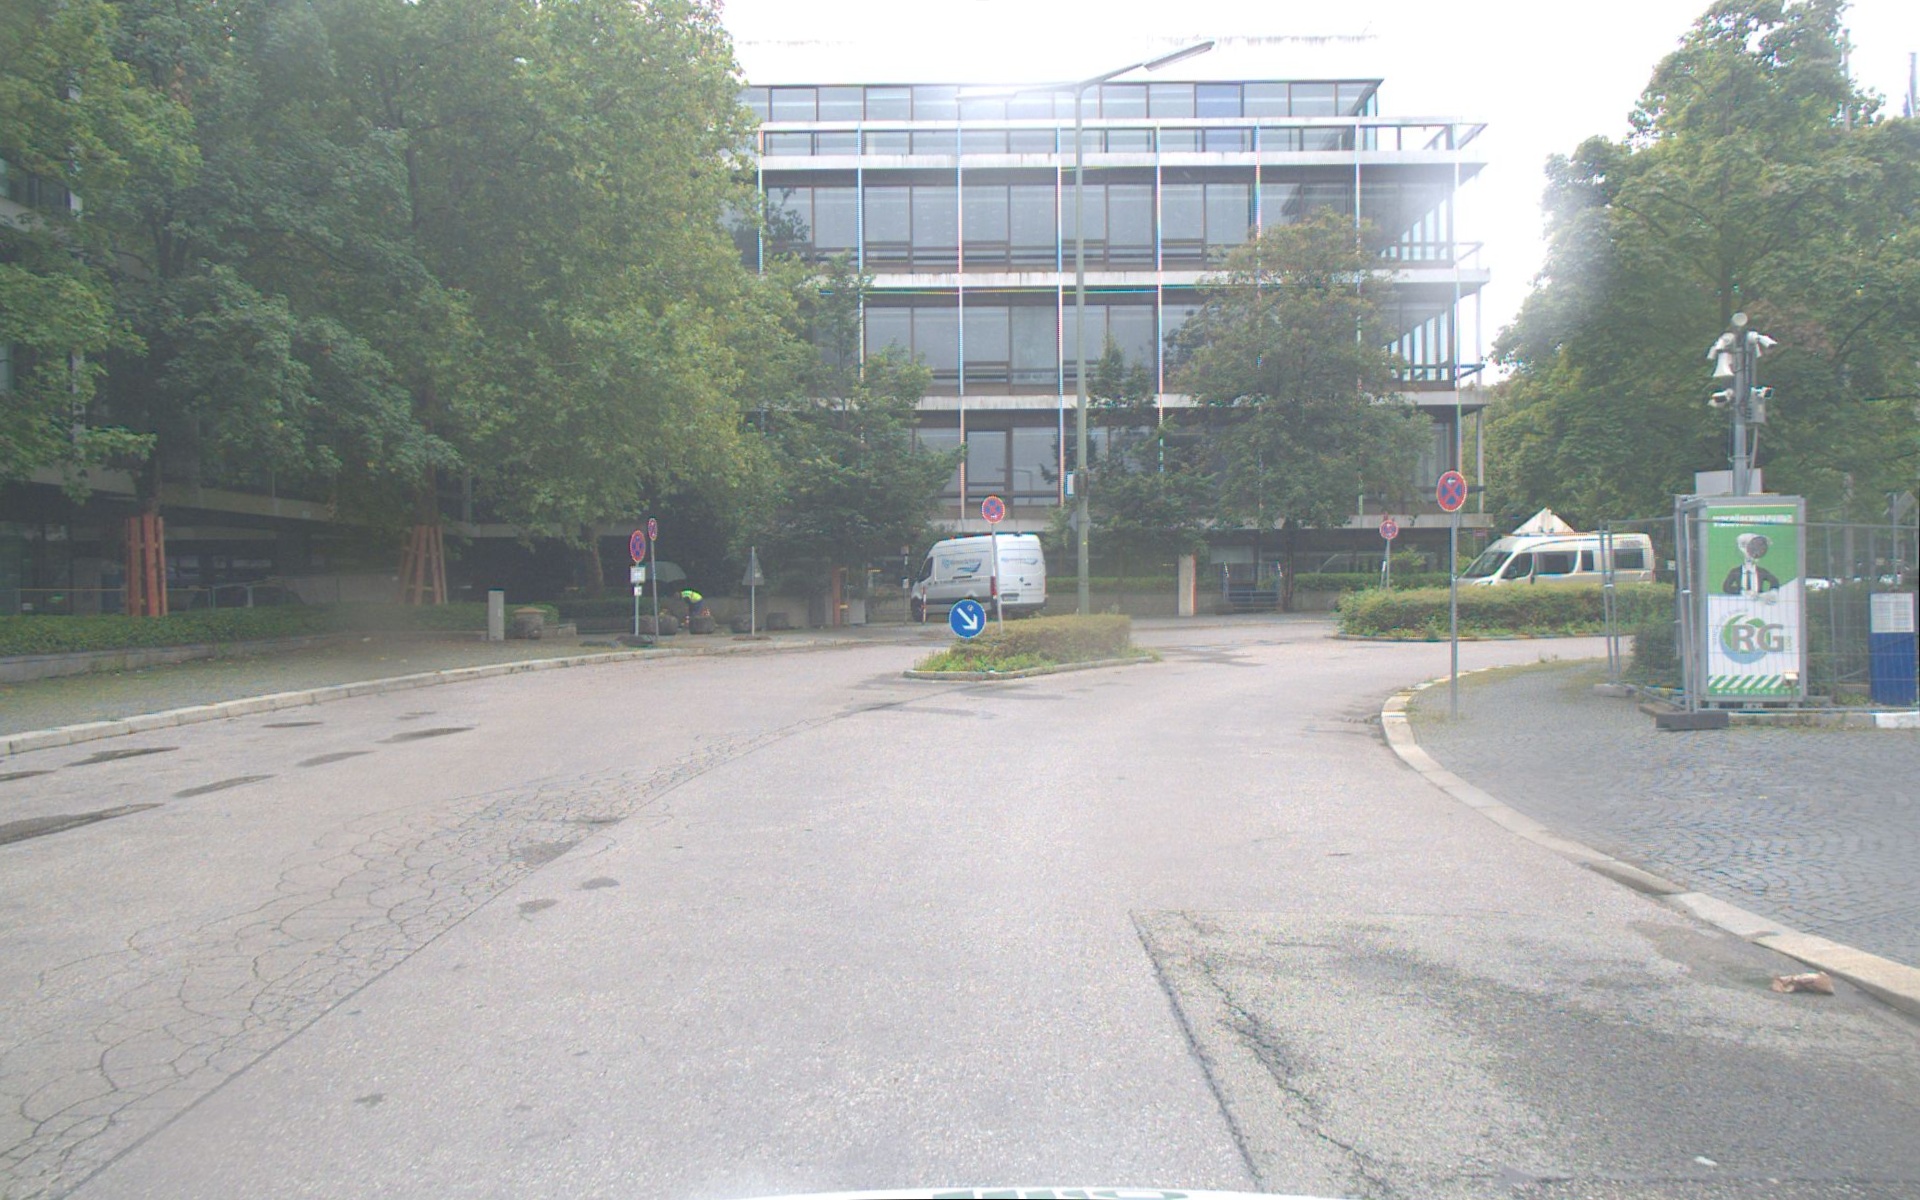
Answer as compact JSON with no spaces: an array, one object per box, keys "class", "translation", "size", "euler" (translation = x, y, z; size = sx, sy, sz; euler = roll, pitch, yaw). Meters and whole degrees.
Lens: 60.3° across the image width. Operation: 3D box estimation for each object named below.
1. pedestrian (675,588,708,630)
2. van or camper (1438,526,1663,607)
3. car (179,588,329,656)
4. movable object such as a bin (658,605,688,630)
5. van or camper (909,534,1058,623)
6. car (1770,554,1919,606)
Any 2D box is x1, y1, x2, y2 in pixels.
[{"class":"pedestrian","translation":[-8.261,0.274,50.824],"size":[0.907,1.300,0.542],"euler":[0,0,2]},{"class":"van or camper","translation":[17.922,-1.024,50.232],"size":[6.290,2.321,2.247],"euler":[-1,1,-15]},{"class":"car","translation":[-16.821,0.491,39.603],"size":[1.867,1.499,3.861],"euler":[-1,1,1]},{"class":"movable object such as a bin","translation":[-8.815,0.532,50.784],"size":[0.817,0.766,0.572],"euler":[0,0,2]},{"class":"van or camper","translation":[0.627,-0.603,53.051],"size":[2.129,2.626,6.485],"euler":[0,-1,-25]},{"class":"car","translation":[27.595,-0.620,51.335],"size":[3.904,1.534,2.000],"euler":[-1,1,1]}]
